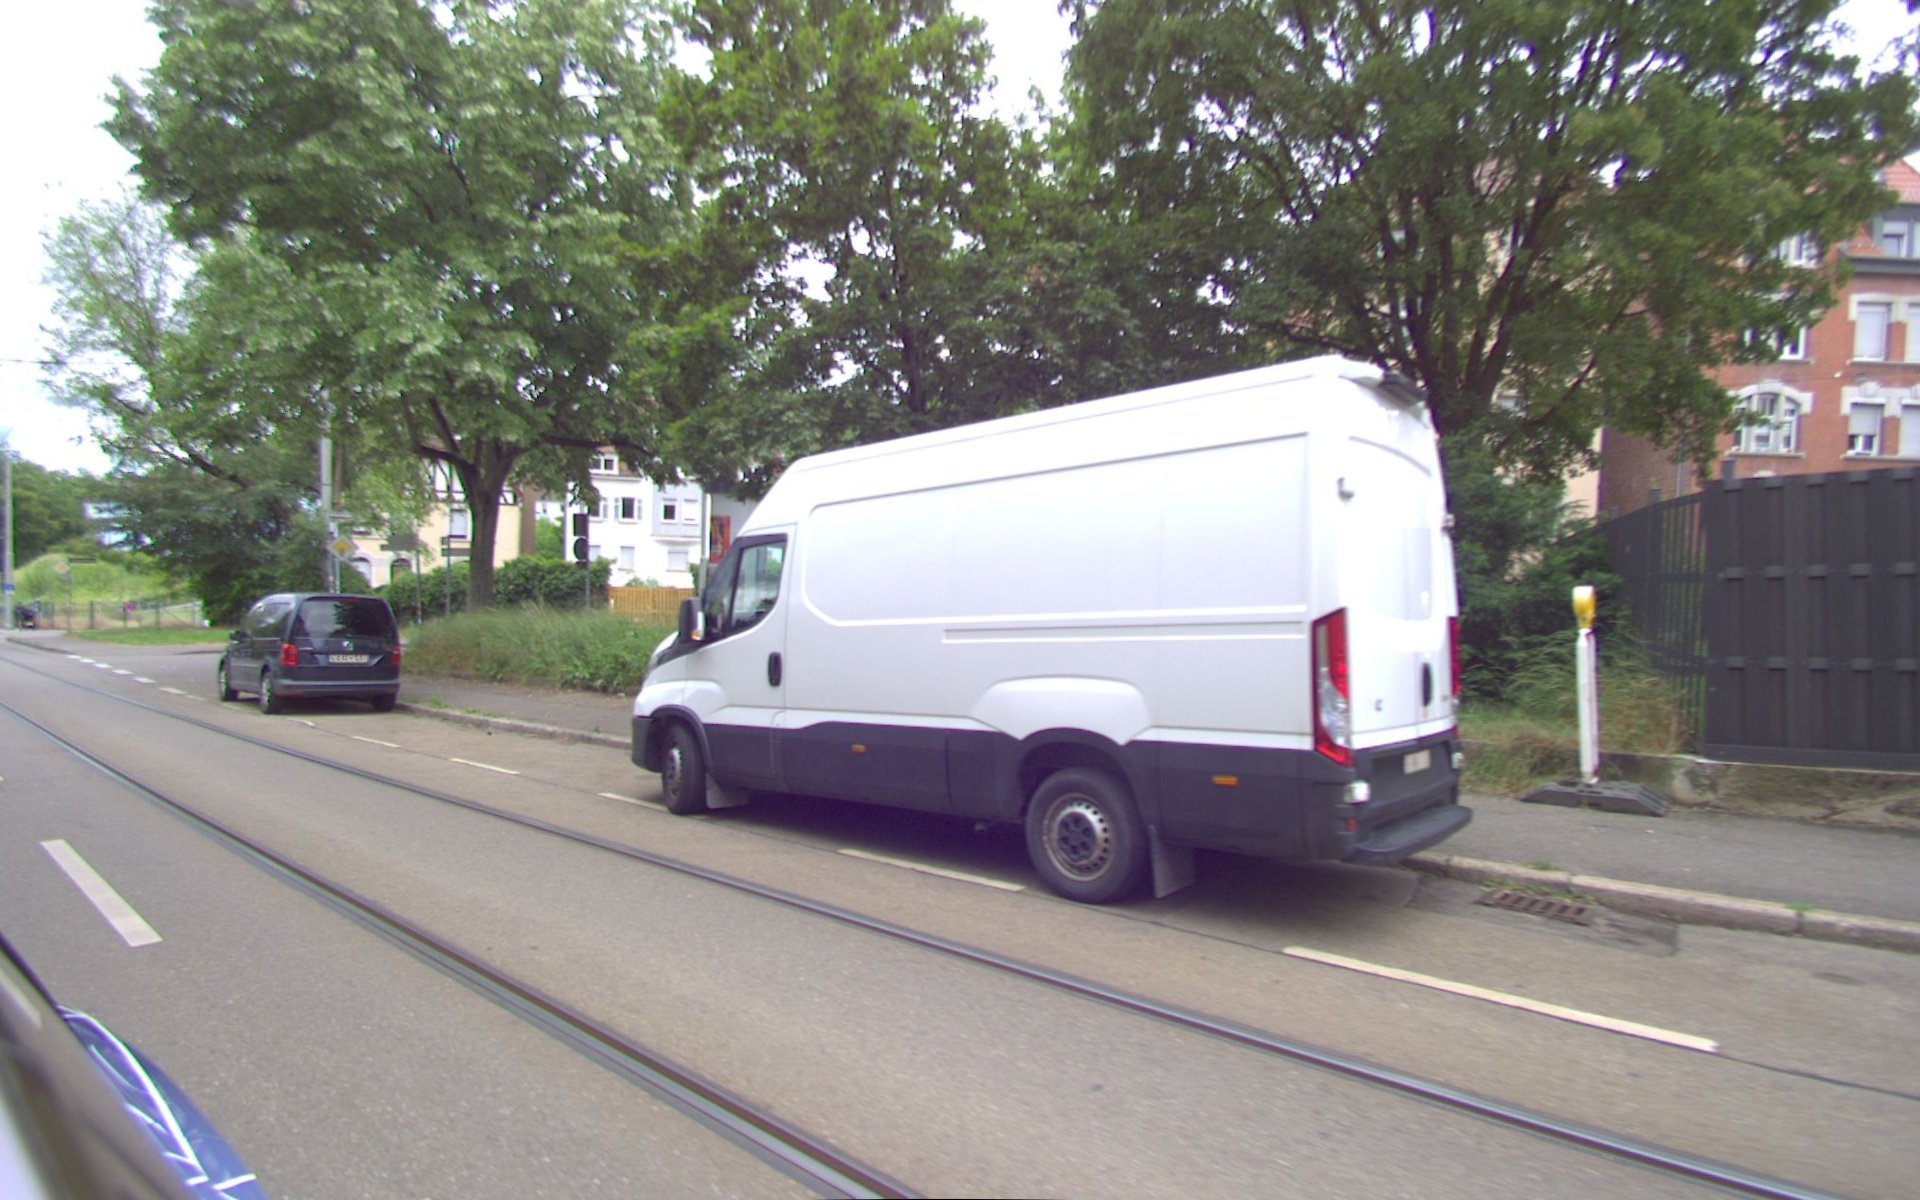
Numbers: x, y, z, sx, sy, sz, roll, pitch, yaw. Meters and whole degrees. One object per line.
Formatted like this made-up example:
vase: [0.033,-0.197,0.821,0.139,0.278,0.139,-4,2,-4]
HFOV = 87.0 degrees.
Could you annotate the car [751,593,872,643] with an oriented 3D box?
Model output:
car: [-4.745,0.561,32.614,3.568,1.489,1.748,-1,1,5]

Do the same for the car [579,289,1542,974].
car: [0.118,0.199,6.714,6.214,2.627,2.136,-1,-3,40]

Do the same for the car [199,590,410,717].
car: [-10.792,0.817,16.522,4.668,1.789,1.742,-1,-4,43]

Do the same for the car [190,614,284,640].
car: [-39.882,1.471,55.913,3.944,1.388,1.701,0,-1,-24]

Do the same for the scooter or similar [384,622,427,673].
scooter or similar: [-13.115,1.120,23.928,1.717,1.154,0.308,-3,-1,42]
